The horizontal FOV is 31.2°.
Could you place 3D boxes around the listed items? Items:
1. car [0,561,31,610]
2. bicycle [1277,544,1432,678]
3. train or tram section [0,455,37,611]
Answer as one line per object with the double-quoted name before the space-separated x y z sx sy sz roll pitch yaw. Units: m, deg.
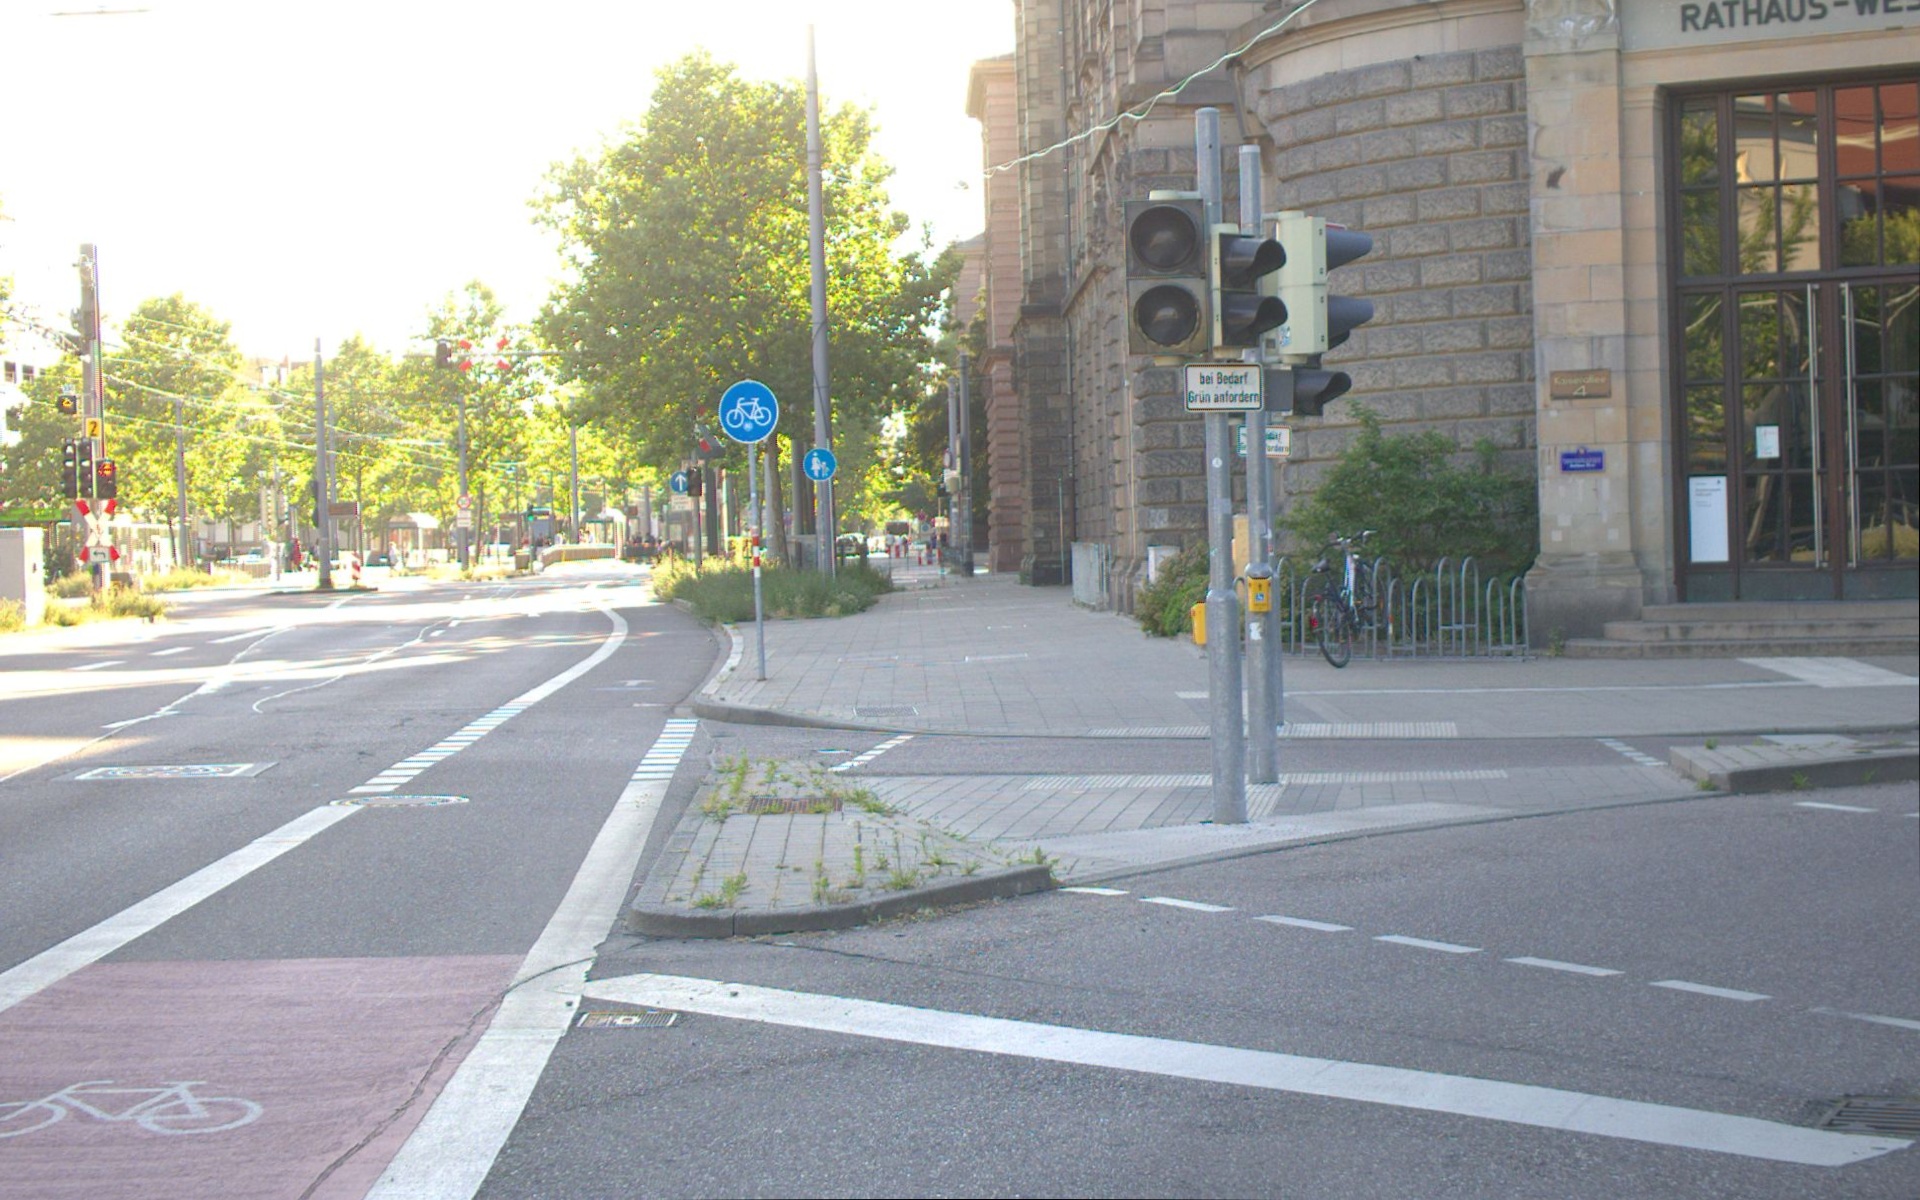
"car" -30.739 -0.475 110.298 1.605 1.524 3.558 -2 1 -13
"bicycle" 3.782 0.091 32.790 0.868 1.192 2.237 -2 1 22
"train or tram section" -23.143 -1.387 71.727 3.112 3.547 19.935 -2 1 -2
